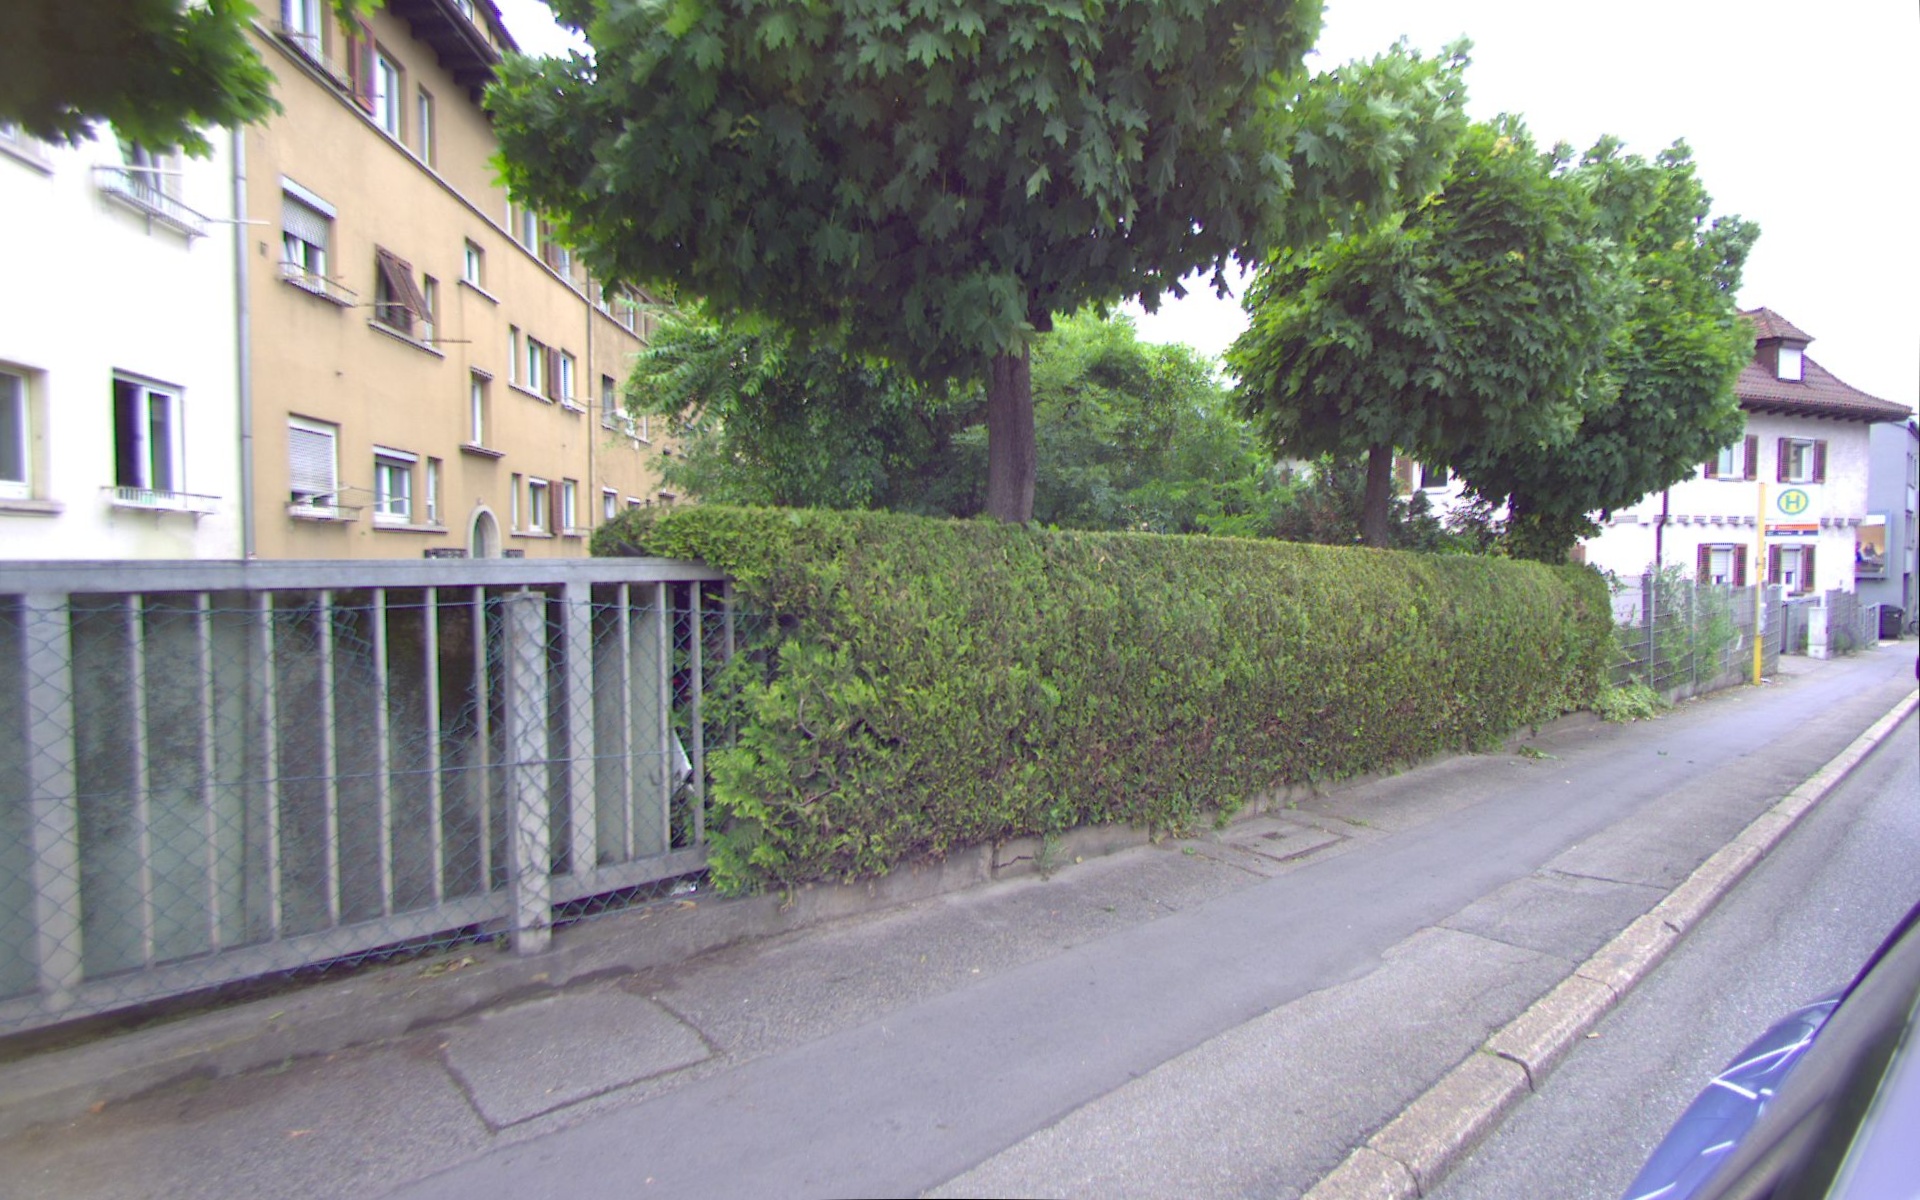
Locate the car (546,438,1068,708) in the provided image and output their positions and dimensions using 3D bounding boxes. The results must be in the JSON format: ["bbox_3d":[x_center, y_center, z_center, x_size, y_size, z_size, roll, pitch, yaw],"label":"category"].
[{"bbox_3d":[-0.973,-0.168,7.321,3.381,1.478,1.698,-1,0,-43],"label":"car"}]

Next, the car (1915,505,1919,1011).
[{"bbox_3d":[5.761,0.542,4.422,4.629,1.804,1.861,-1,0,-41],"label":"car"}]
